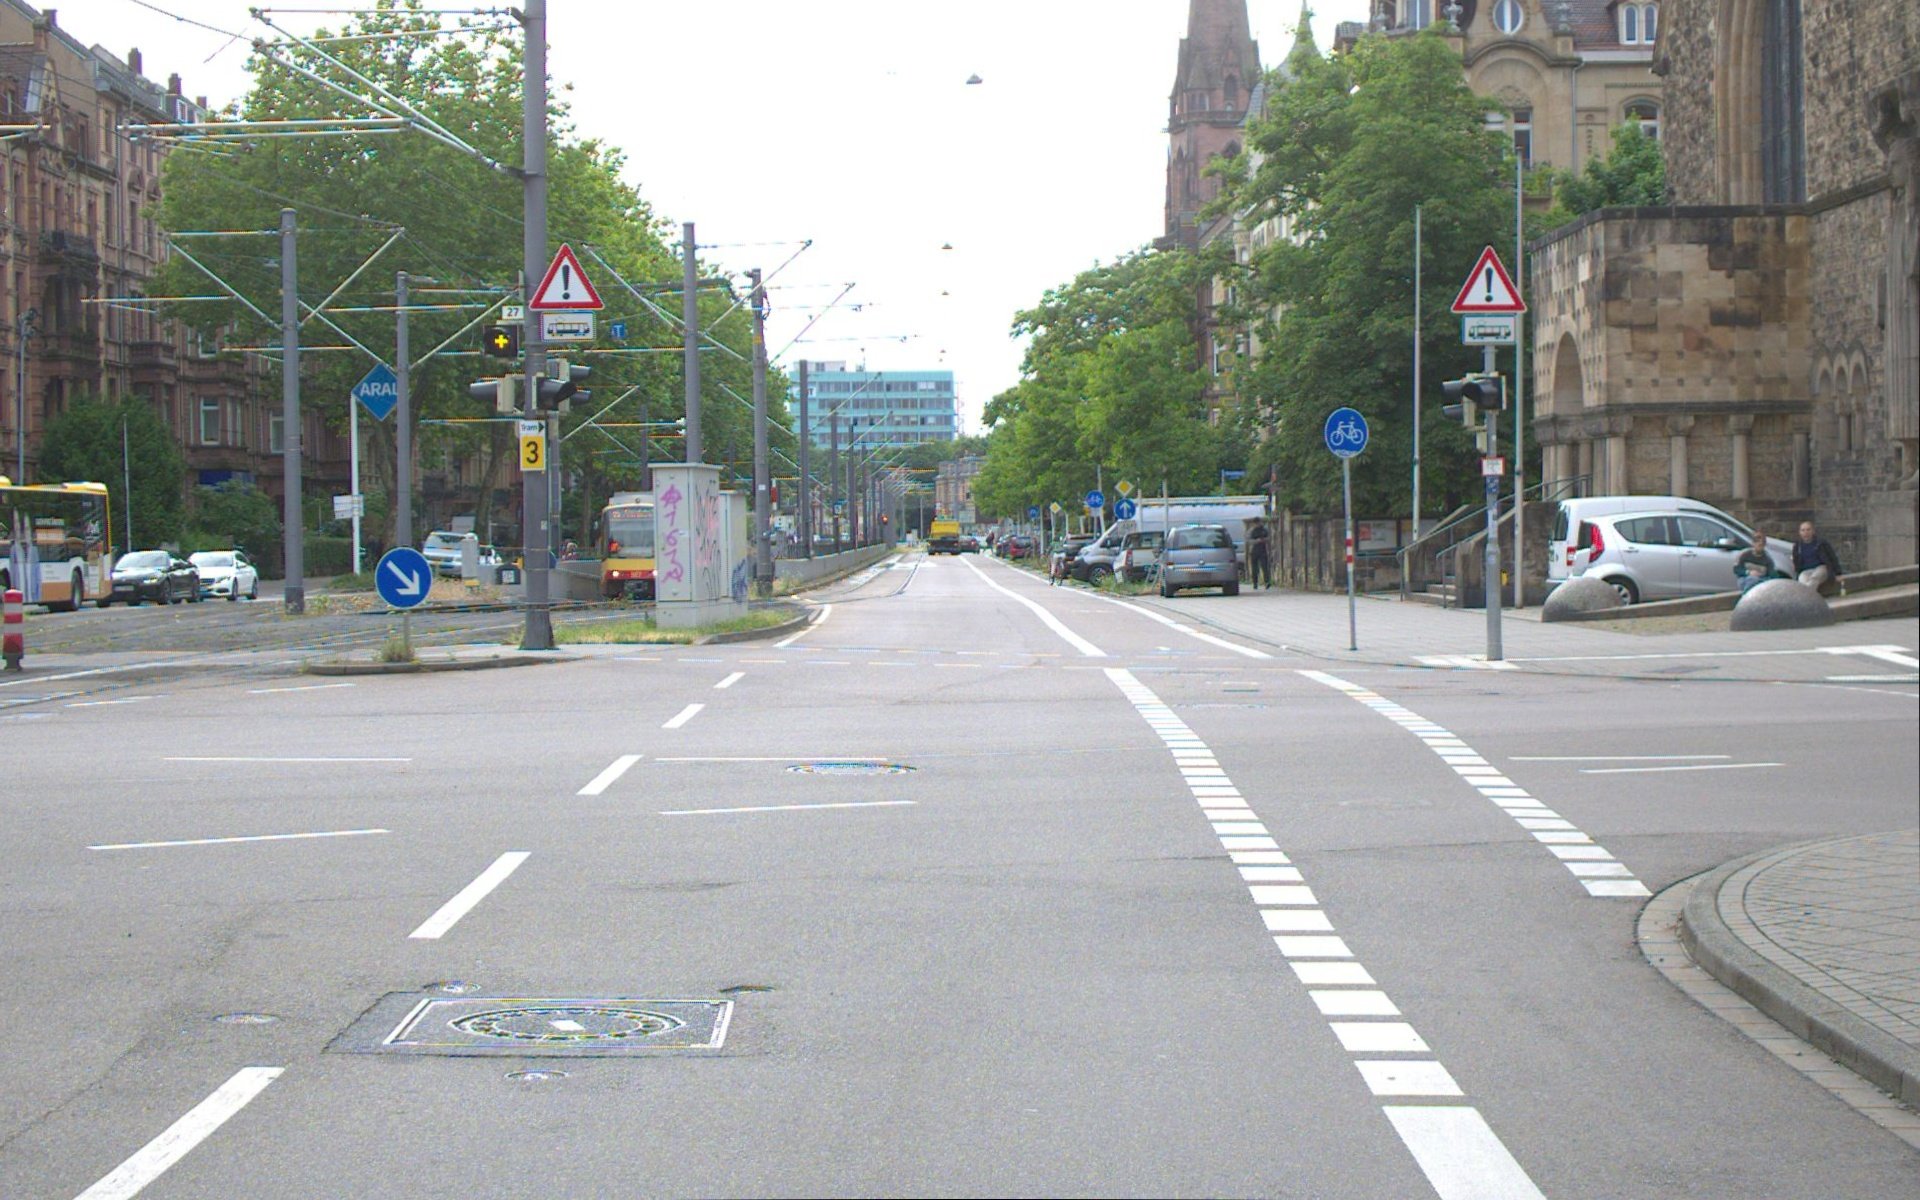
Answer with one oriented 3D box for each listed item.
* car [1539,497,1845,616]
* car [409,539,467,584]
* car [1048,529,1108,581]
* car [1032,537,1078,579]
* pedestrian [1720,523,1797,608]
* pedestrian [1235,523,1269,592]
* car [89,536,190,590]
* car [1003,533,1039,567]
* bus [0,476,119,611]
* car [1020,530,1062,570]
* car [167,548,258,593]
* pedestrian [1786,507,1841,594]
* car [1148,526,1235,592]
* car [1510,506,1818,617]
[{"bbox_3d":[11.887,-0.721,56.003,4.610,1.875,1.663,0,1,0],"label":"car"},{"bbox_3d":[-20.805,-1.551,137.174,1.702,1.706,3.891,1,1,0],"label":"car"},{"bbox_3d":[4.234,-1.651,123.902,1.993,1.814,4.000,-1,1,0],"label":"car"},{"bbox_3d":[4.425,-1.958,160.135,1.993,1.875,4.000,-1,1,0],"label":"car"},{"bbox_3d":[11.338,-0.500,48.845,0.736,1.187,1.493,0,1,0],"label":"pedestrian"},{"bbox_3d":[7.021,-1.035,82.570,0.776,1.641,0.798,1,1,6],"label":"pedestrian"},{"bbox_3d":[-21.478,-0.987,90.130,1.702,1.354,3.891,1,1,0],"label":"car"},{"bbox_3d":[3.660,-3.015,205.998,1.993,2.007,4.000,0,1,-1],"label":"car"},{"bbox_3d":[-21.892,-1.298,76.488,3.281,2.846,12.381,1,1,0],"label":"bus"},{"bbox_3d":[4.201,-2.595,178.591,1.993,2.007,4.000,0,1,-1],"label":"car"},{"bbox_3d":[-21.126,-0.842,97.283,1.702,1.217,3.891,1,1,0],"label":"car"},{"bbox_3d":[12.226,-0.709,49.255,0.737,1.224,1.062,1,1,15],"label":"pedestrian"},{"bbox_3d":[5.215,-0.949,77.848,1.702,1.454,3.891,1,1,0],"label":"car"},{"bbox_3d":[10.723,-0.592,52.530,4.348,1.630,1.663,0,1,0],"label":"car"}]
